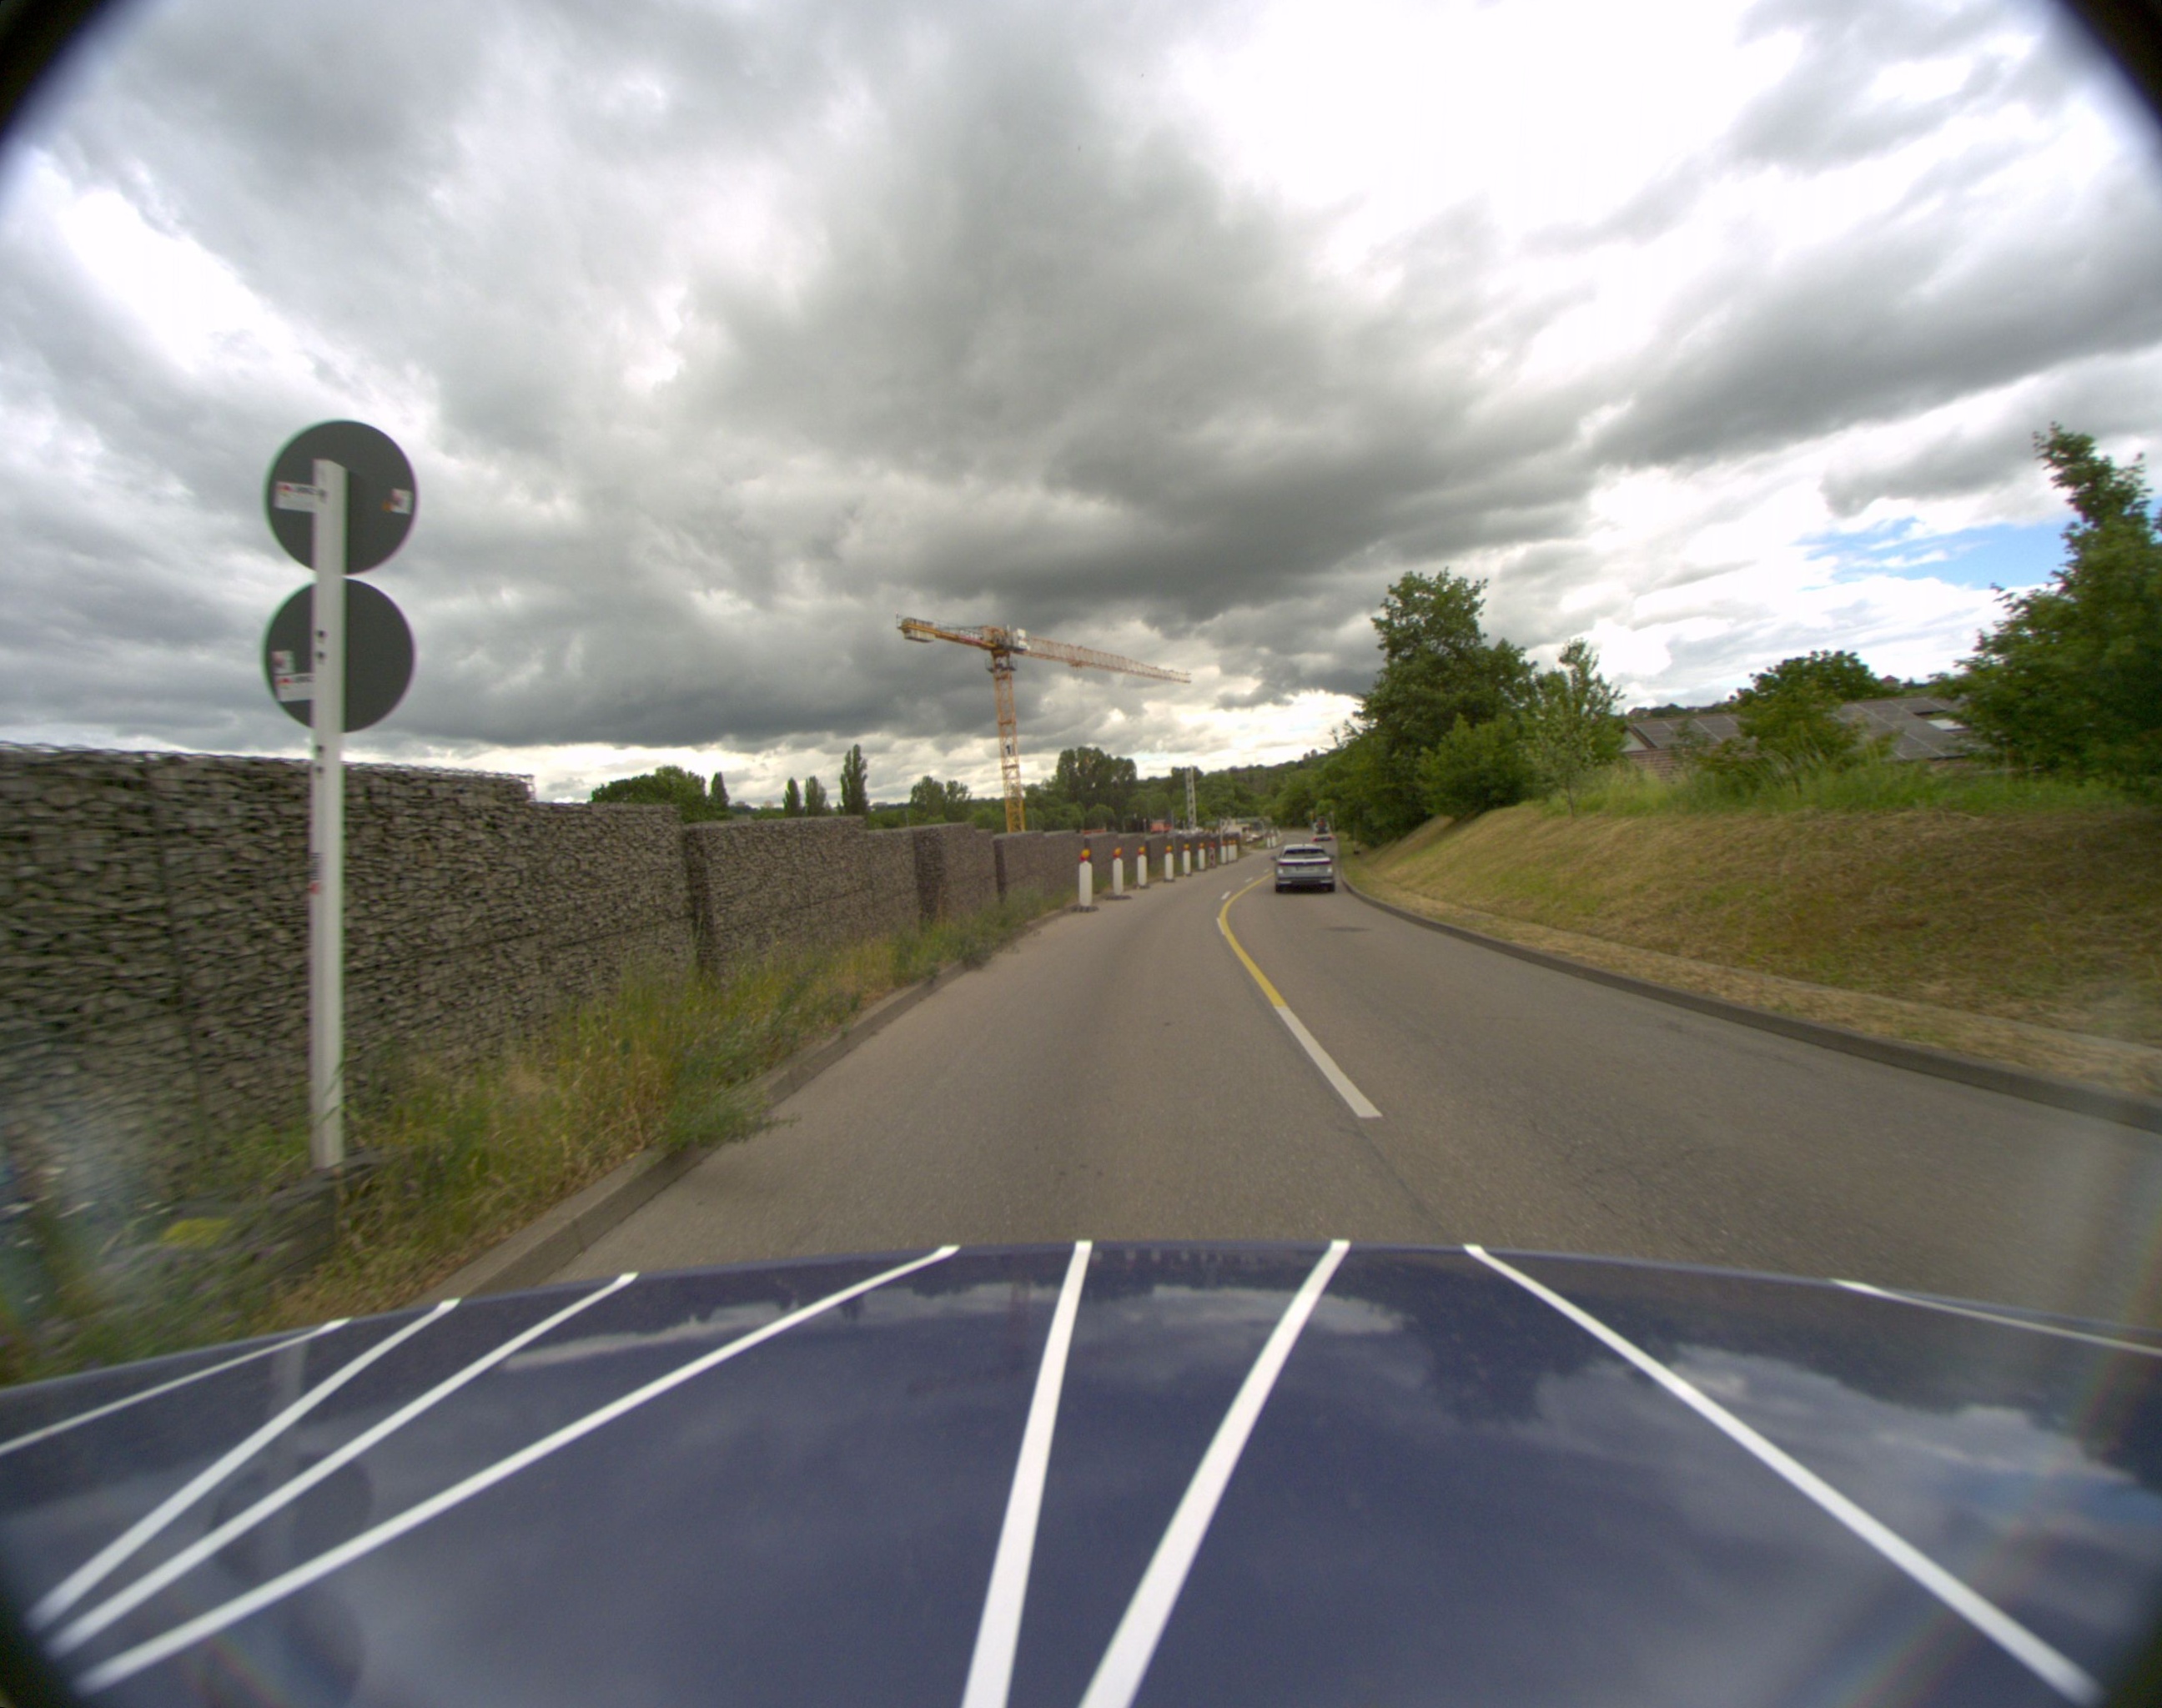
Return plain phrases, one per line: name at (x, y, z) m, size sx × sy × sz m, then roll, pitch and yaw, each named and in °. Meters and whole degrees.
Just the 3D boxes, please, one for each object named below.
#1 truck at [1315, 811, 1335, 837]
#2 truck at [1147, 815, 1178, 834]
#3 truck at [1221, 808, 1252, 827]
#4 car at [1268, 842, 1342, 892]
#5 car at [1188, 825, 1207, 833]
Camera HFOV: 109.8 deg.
truck at (30.020, -3.672, 93.455) m, size 2.217 × 2.998 × 7.748 m, roll -1°, pitch 2°, yaw 19°
truck at (19.138, -6.903, 179.257) m, size 3.043 × 3.877 × 9.985 m, roll -6°, pitch 3°, yaw -18°
truck at (31.087, -7.297, 152.246) m, size 2.761 × 3.240 × 7.599 m, roll -6°, pitch 3°, yaw -15°
car at (7.130, 0.388, 24.604) m, size 1.885 × 1.469 × 4.605 m, roll -1°, pitch 0°, yaw 11°
car at (25.458, -5.513, 165.991) m, size 1.896 × 1.554 × 4.091 m, roll -7°, pitch 3°, yaw -25°
